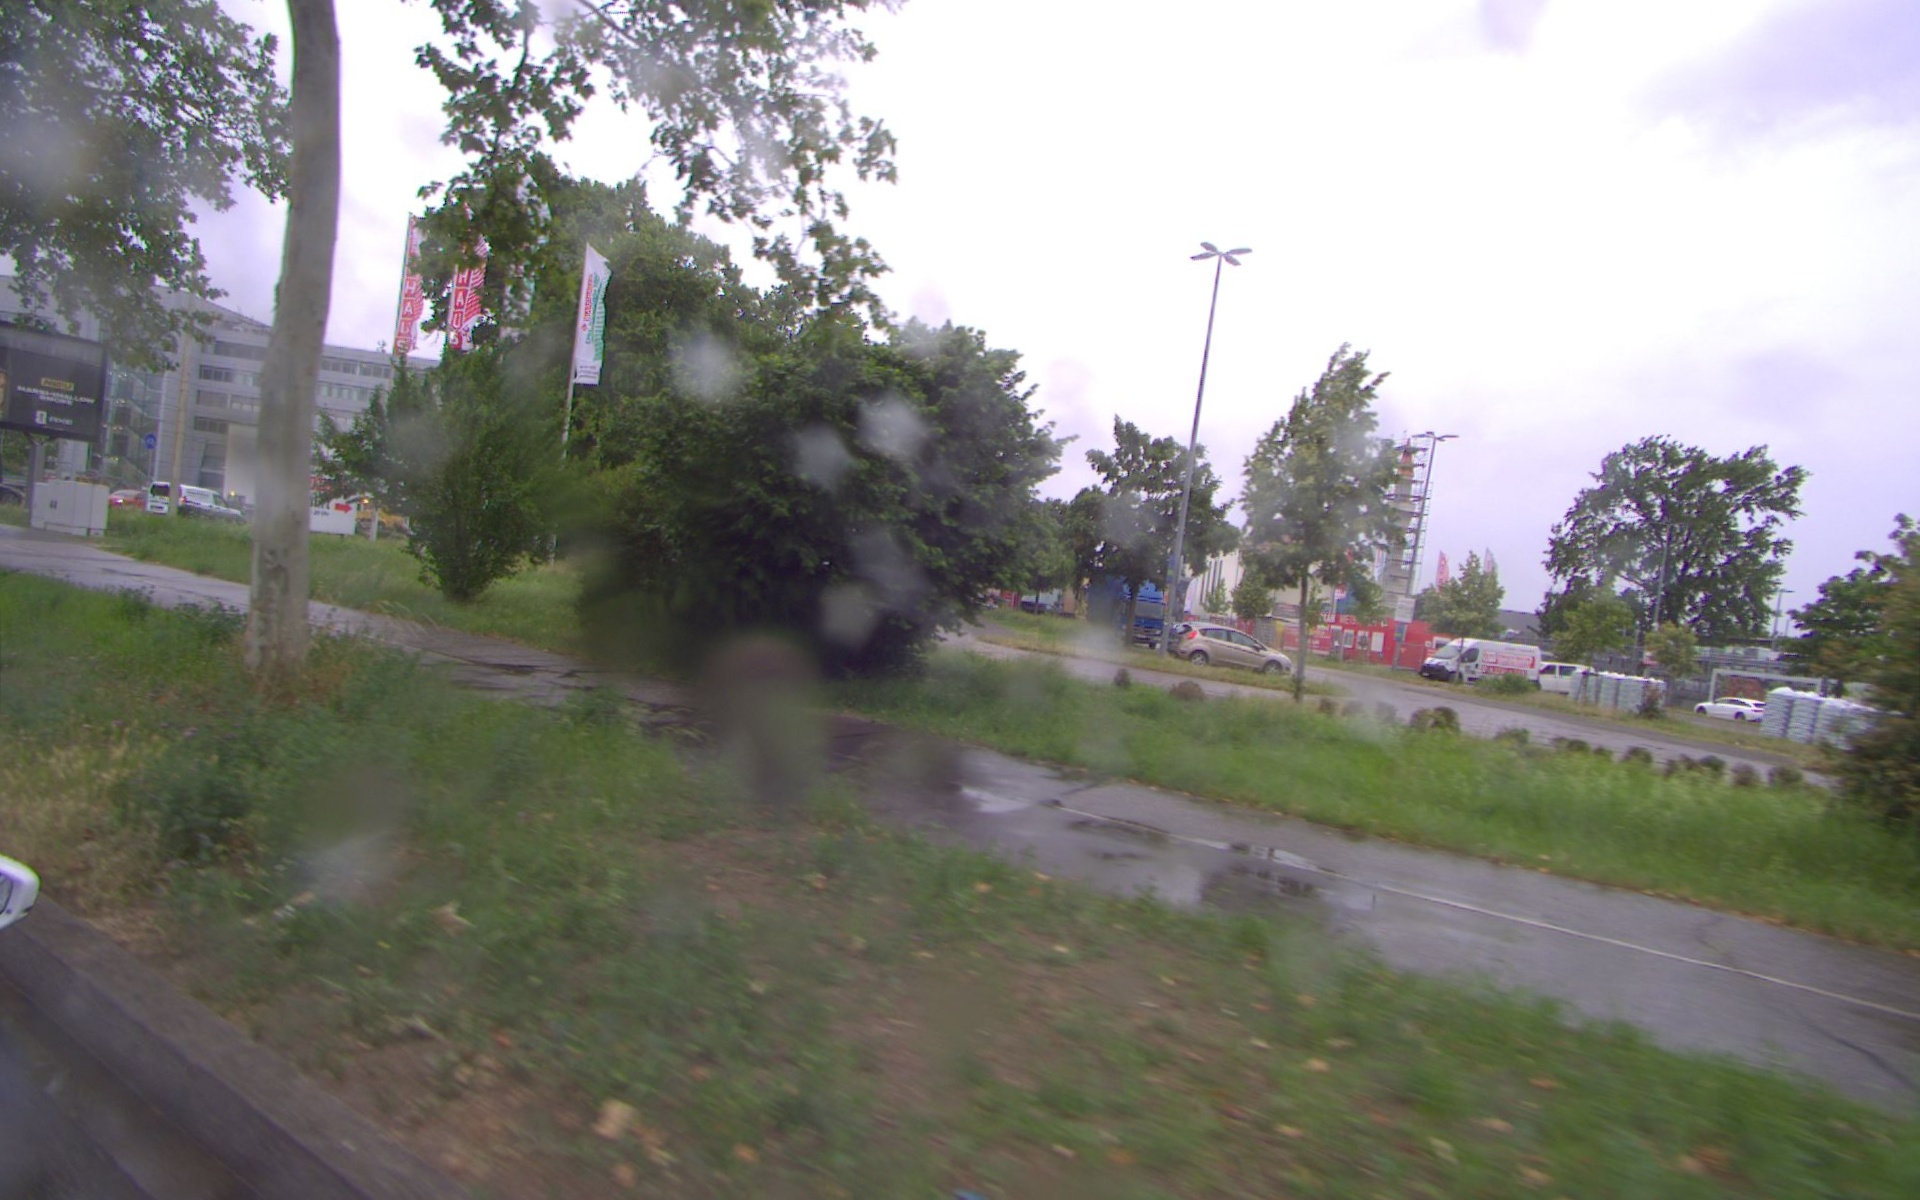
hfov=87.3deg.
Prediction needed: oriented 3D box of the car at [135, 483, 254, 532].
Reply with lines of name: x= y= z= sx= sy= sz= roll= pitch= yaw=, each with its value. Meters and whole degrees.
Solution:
car: x=-34.289 y=-4.095 z=45.228 sx=1.768 sy=1.556 sz=4.387 roll=7 pitch=0 yaw=3

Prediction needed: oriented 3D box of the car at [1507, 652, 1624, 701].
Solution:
car: x=36.489 y=4.609 z=60.739 sx=5.563 sy=2.168 sz=2.002 roll=7 pitch=-1 yaw=5

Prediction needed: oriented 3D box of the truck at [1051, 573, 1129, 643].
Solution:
truck: x=8.279 y=0.518 z=65.340 sx=2.950 sy=3.857 sz=8.951 roll=7 pitch=0 yaw=-4

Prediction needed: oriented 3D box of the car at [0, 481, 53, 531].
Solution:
car: x=-33.916 y=-3.427 z=34.296 sx=1.768 sy=1.555 sz=4.389 roll=7 pitch=-1 yaw=3

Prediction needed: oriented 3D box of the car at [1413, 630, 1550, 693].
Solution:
car: x=25.442 y=2.987 z=49.188 sx=5.572 sy=2.362 sz=1.999 roll=7 pitch=-1 yaw=-6

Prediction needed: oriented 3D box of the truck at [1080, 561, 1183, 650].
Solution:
truck: x=8.614 y=0.275 z=51.694 sx=2.950 sy=3.857 sz=8.283 roll=7 pitch=0 yaw=-4

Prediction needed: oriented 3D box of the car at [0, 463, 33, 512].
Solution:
car: x=-46.041 y=-5.397 z=46.797 sx=1.769 sy=2.220 sz=4.380 roll=7 pitch=2 yaw=-3

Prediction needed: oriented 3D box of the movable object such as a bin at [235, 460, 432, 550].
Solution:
movable object such as a bin: x=-64.713 y=-9.678 z=104.590 sx=14.696 sy=6.356 sz=8.270 roll=7 pitch=-1 yaw=-2

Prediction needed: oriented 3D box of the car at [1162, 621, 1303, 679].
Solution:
car: x=8.912 y=1.626 z=33.087 sx=3.928 sy=1.380 sz=2.000 roll=7 pitch=-1 yaw=-3

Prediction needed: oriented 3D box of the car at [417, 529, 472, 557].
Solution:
car: x=-36.741 y=-4.070 z=71.834 sx=1.769 sy=1.556 sz=4.384 roll=7 pitch=0 yaw=-4

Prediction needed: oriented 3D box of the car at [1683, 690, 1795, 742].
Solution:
car: x=43.720 y=6.486 z=56.669 sx=2.044 sy=2.229 sz=5.155 roll=5 pitch=-1 yaw=-1

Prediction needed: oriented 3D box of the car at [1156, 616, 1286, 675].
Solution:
car: x=9.181 y=1.597 z=35.608 sx=3.928 sy=1.514 sz=2.000 roll=7 pitch=-1 yaw=-3
